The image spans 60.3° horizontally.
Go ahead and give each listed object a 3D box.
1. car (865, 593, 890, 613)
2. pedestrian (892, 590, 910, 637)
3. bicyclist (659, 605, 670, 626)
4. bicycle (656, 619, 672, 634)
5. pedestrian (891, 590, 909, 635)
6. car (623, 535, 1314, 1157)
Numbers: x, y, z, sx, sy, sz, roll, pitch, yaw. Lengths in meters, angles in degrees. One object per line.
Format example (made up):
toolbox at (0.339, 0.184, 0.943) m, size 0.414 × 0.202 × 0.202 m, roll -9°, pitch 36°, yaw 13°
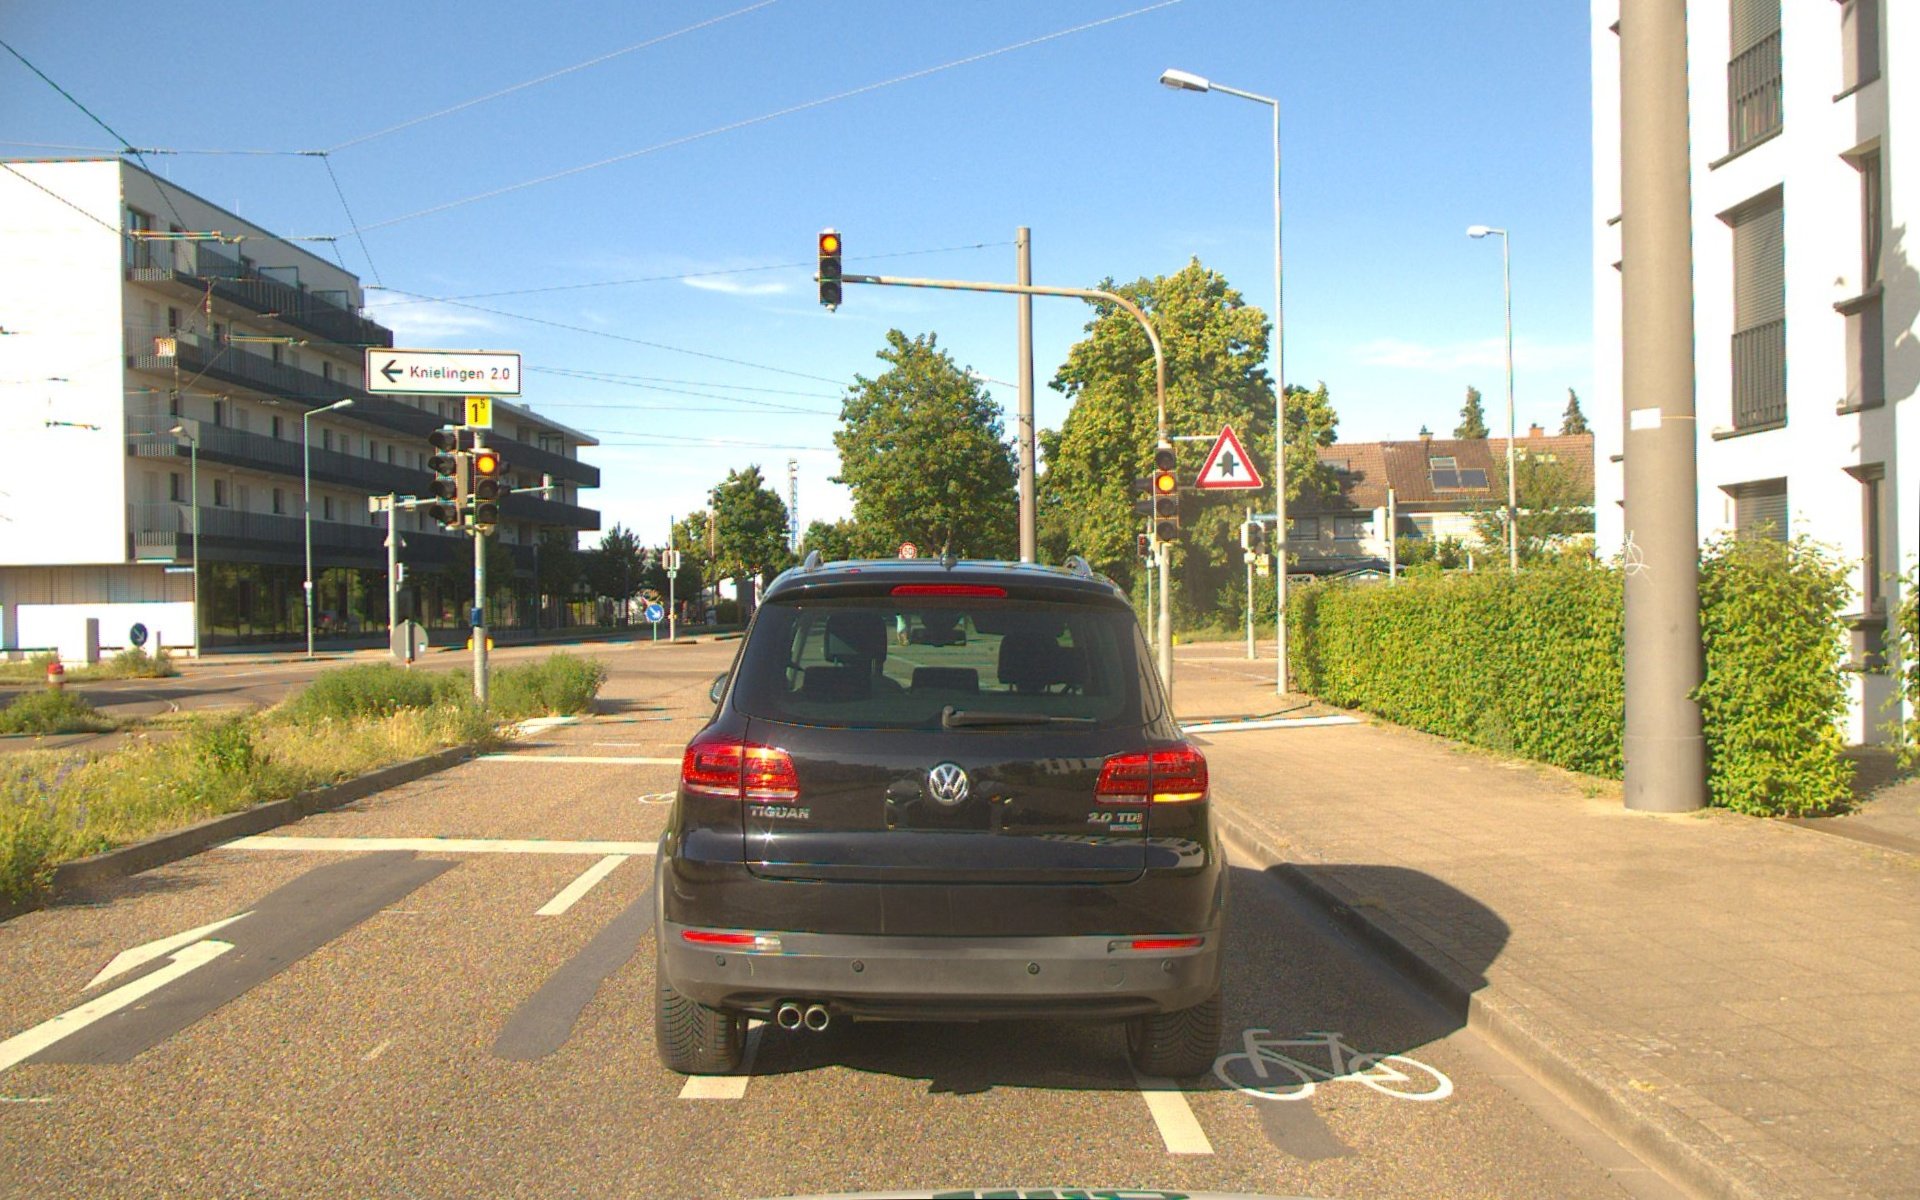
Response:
car at (-5.838, 0.196, 116.940) m, size 1.716 × 1.411 × 3.998 m, roll 0°, pitch 0°, yaw -2°
pedestrian at (-2.110, 0.482, 59.482) m, size 0.590 × 1.668 × 0.529 m, roll 0°, pitch 0°, yaw 4°
bicyclist at (-17.455, 0.918, 97.623) m, size 0.464 × 1.245 × 0.713 m, roll 0°, pitch 0°, yaw 3°
bicycle at (-17.458, 1.565, 97.651) m, size 0.485 × 0.863 × 2.079 m, roll 0°, pitch 0°, yaw 3°
pedestrian at (-2.145, 0.427, 58.953) m, size 0.590 × 1.592 × 0.529 m, roll 0°, pitch 0°, yaw 4°
car at (-0.040, 0.661, 6.489) m, size 1.867 × 1.671 × 3.998 m, roll 0°, pitch 0°, yaw -2°
